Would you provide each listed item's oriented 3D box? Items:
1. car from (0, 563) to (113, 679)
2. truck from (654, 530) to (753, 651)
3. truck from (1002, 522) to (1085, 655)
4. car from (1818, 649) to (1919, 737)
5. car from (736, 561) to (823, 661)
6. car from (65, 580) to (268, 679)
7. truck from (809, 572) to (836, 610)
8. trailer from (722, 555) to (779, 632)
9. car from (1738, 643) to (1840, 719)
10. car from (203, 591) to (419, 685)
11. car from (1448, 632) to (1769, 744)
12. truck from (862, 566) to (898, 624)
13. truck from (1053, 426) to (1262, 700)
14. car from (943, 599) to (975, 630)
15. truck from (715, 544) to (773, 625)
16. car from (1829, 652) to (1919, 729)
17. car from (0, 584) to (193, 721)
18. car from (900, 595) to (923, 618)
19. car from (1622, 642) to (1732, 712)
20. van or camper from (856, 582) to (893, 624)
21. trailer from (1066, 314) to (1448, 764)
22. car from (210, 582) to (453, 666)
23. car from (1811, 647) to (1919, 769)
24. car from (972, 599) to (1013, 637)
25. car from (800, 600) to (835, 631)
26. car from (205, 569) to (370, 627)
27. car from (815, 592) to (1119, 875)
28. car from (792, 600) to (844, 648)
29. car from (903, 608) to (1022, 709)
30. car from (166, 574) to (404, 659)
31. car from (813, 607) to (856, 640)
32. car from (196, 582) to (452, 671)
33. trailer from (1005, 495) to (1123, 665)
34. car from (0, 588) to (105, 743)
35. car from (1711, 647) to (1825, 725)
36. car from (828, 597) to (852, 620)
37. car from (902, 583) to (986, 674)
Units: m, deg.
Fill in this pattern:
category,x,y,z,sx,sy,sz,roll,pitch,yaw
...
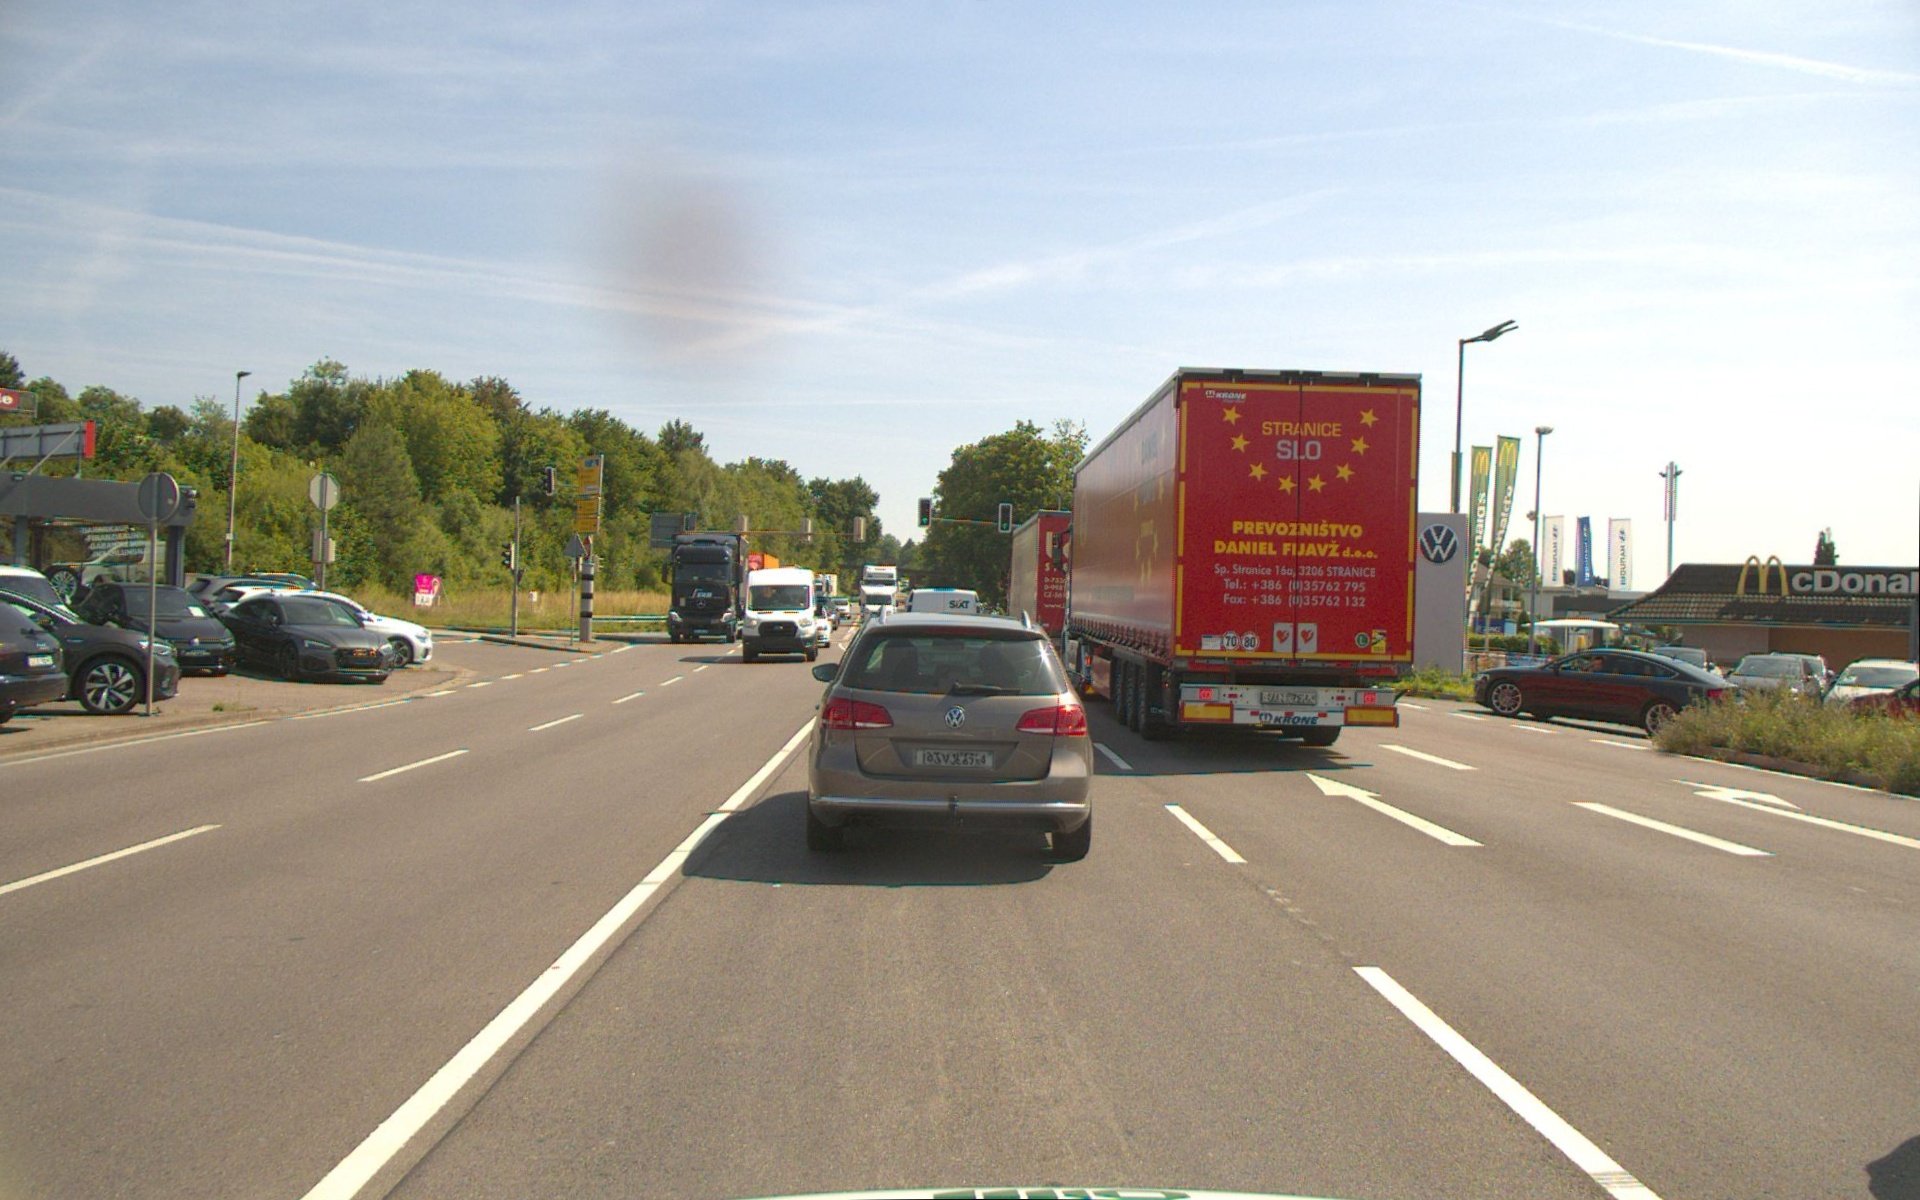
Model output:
category,x,y,z,sx,sy,sz,roll,pitch,yaw
car,-16.173,0.286,28.155,1.879,1.779,4.397,3,0,-44
truck,-9.373,-0.295,61.399,2.657,4.068,9.968,1,0,-4
truck,2.734,-0.350,55.556,2.357,4.200,5.519,1,0,-1
car,18.072,1.763,32.446,1.713,1.518,4.250,1,0,34
car,-5.003,0.301,46.688,2.018,2.554,7.109,1,0,-3
car,-14.348,0.501,29.819,4.268,1.512,1.788,3,0,42
truck,-15.126,-0.961,182.579,2.675,4.069,9.613,1,0,-3
trailer,-11.895,-0.329,94.799,2.667,4.068,12.222,1,0,-5
car,20.428,1.945,40.686,1.740,1.700,3.897,1,0,34
car,-12.216,0.674,30.986,4.560,1.461,1.962,3,0,43
car,11.169,1.498,28.716,4.737,1.355,1.952,5,-2,44
truck,-5.934,-0.339,122.090,2.487,4.159,6.260,1,0,-4
truck,3.397,-0.593,30.010,2.812,4.355,5.837,3,0,-1
car,-0.097,0.992,112.819,1.954,2.049,3.997,1,0,-3
truck,-11.307,-0.767,86.976,2.667,4.068,6.051,1,0,-5
car,20.238,1.928,36.139,1.760,1.476,4.141,1,0,34
car,-11.993,0.628,20.816,4.123,1.651,2.011,1,0,-29
car,-4.503,0.612,152.299,1.954,2.049,3.997,1,0,-3
car,18.413,1.931,42.384,1.823,1.604,4.219,1,0,34
van or camper,-5.559,0.211,108.458,2.283,2.646,6.975,1,0,-2
trailer,3.458,-0.589,23.453,2.782,4.441,13.165,3,0,0
car,-14.099,0.557,37.271,4.674,1.539,1.926,5,-2,-42
car,14.524,1.604,23.536,1.749,1.683,4.042,3,-1,-26
car,1.784,0.972,92.346,1.954,2.049,3.997,1,0,-3
car,-8.012,0.840,93.315,1.870,1.630,4.586,0,0,-3
car,-22.064,-0.051,54.389,1.883,1.554,4.604,3,-2,44
car,-0.069,0.744,11.113,1.658,1.539,3.997,1,0,-3
car,-4.922,0.817,57.857,1.620,1.583,3.998,-1,0,-2
car,-0.027,0.915,27.596,1.735,1.539,3.997,1,0,-3
car,-15.804,0.407,38.875,4.757,1.654,1.902,5,-3,-43
car,-5.802,1.059,76.853,1.676,1.469,4.378,-1,0,0
car,-13.321,0.575,34.768,4.661,1.501,1.870,5,-2,-35
trailer,2.849,-0.490,48.923,2.346,4.317,13.074,1,0,-1
car,-11.631,0.630,17.621,3.952,1.557,2.031,1,0,-2
car,18.196,1.880,37.163,1.740,1.559,4.076,1,0,34
car,-9.957,0.707,137.746,1.806,1.763,4.586,3,0,-3
car,-0.422,0.638,38.585,1.735,1.970,3.975,1,0,-3
